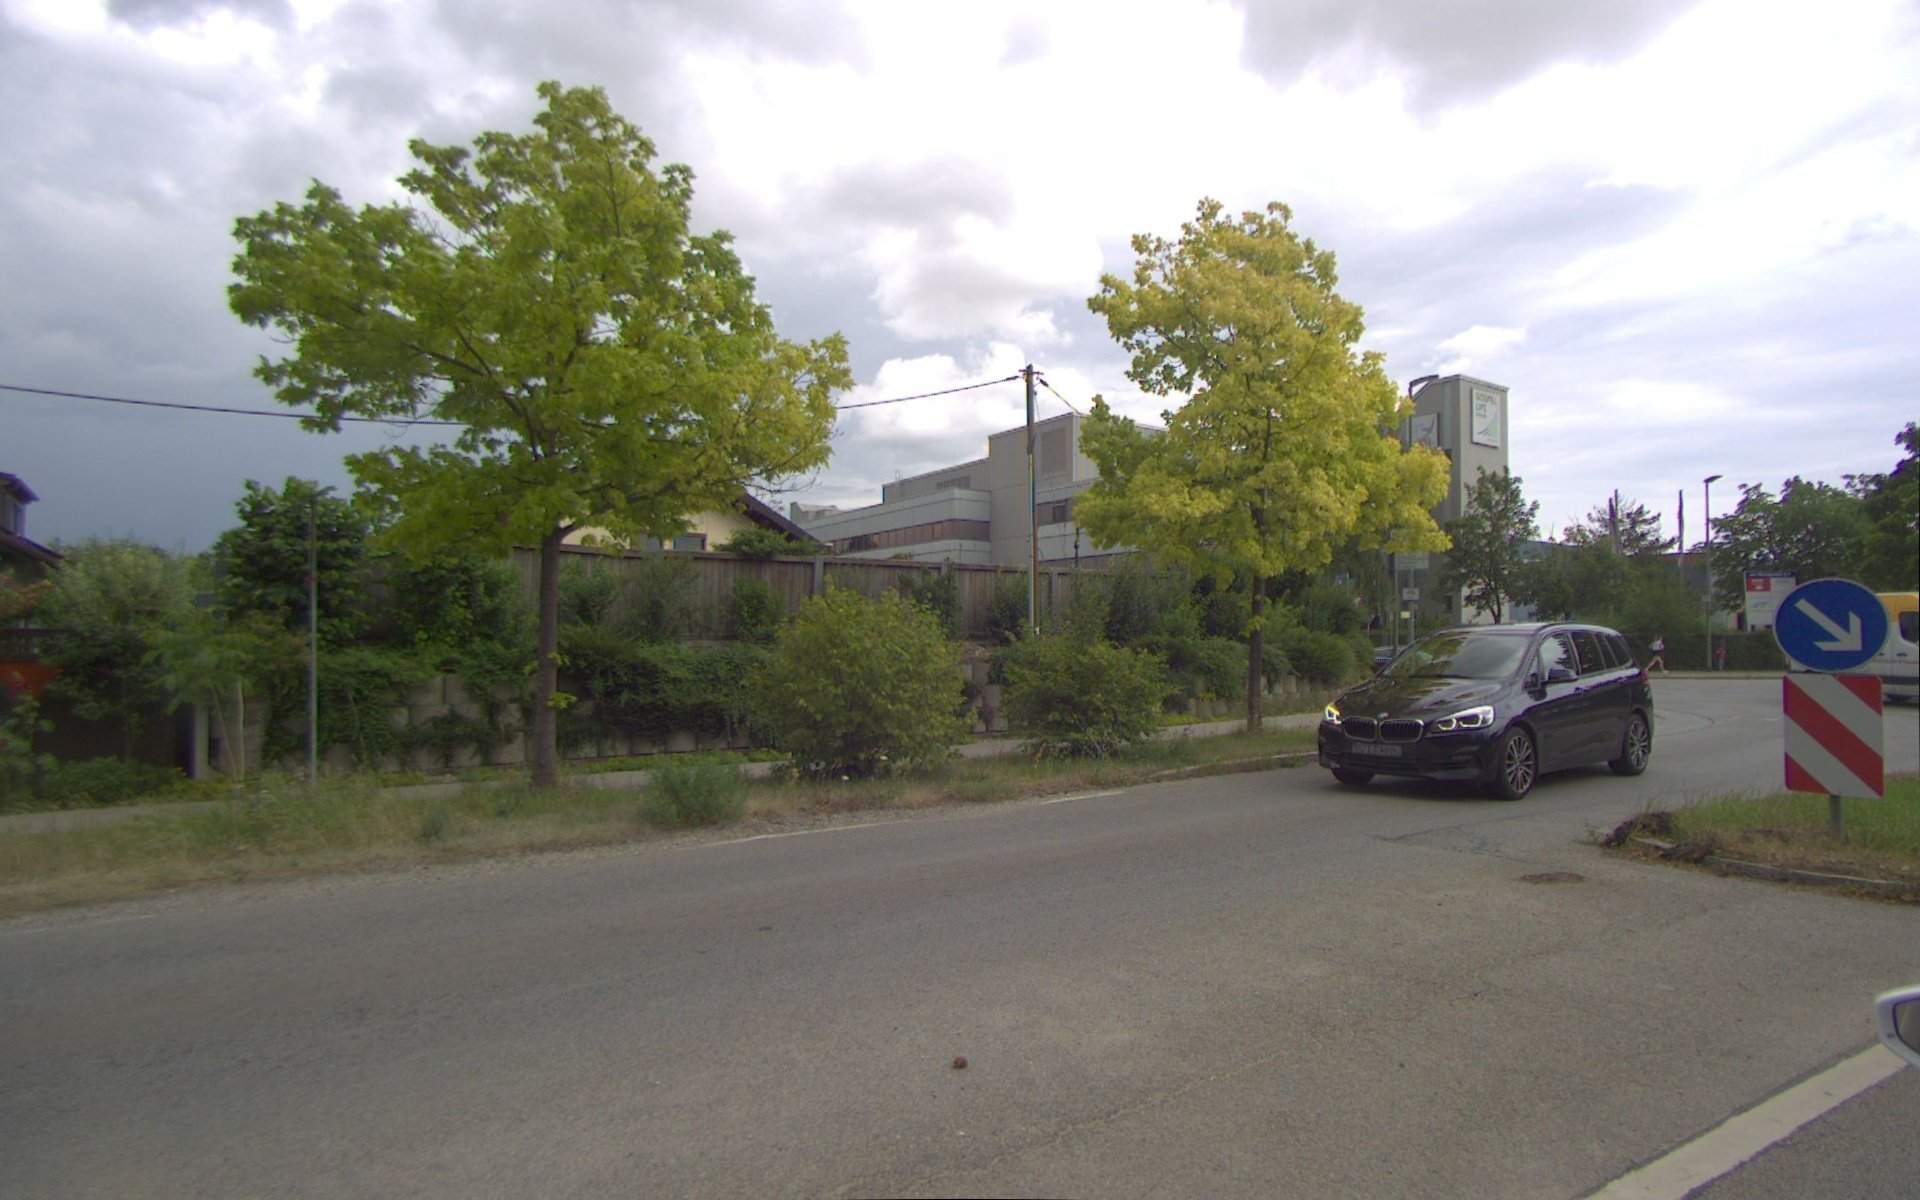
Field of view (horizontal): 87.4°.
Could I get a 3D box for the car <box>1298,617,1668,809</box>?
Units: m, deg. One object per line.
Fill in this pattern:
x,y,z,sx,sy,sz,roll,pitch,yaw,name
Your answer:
5.552,1.047,10.457,4.317,1.606,1.726,2,-4,-38,car

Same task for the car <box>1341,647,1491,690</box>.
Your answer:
15.814,2.346,35.060,1.915,1.365,4.431,0,-3,-33,car

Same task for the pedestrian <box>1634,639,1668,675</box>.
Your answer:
28.829,2.363,41.899,0.930,1.487,0.633,0,-2,-1,pedestrian

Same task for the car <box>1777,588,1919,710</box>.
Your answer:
20.900,1.056,21.890,2.125,2.484,5.446,-1,-3,6,car
